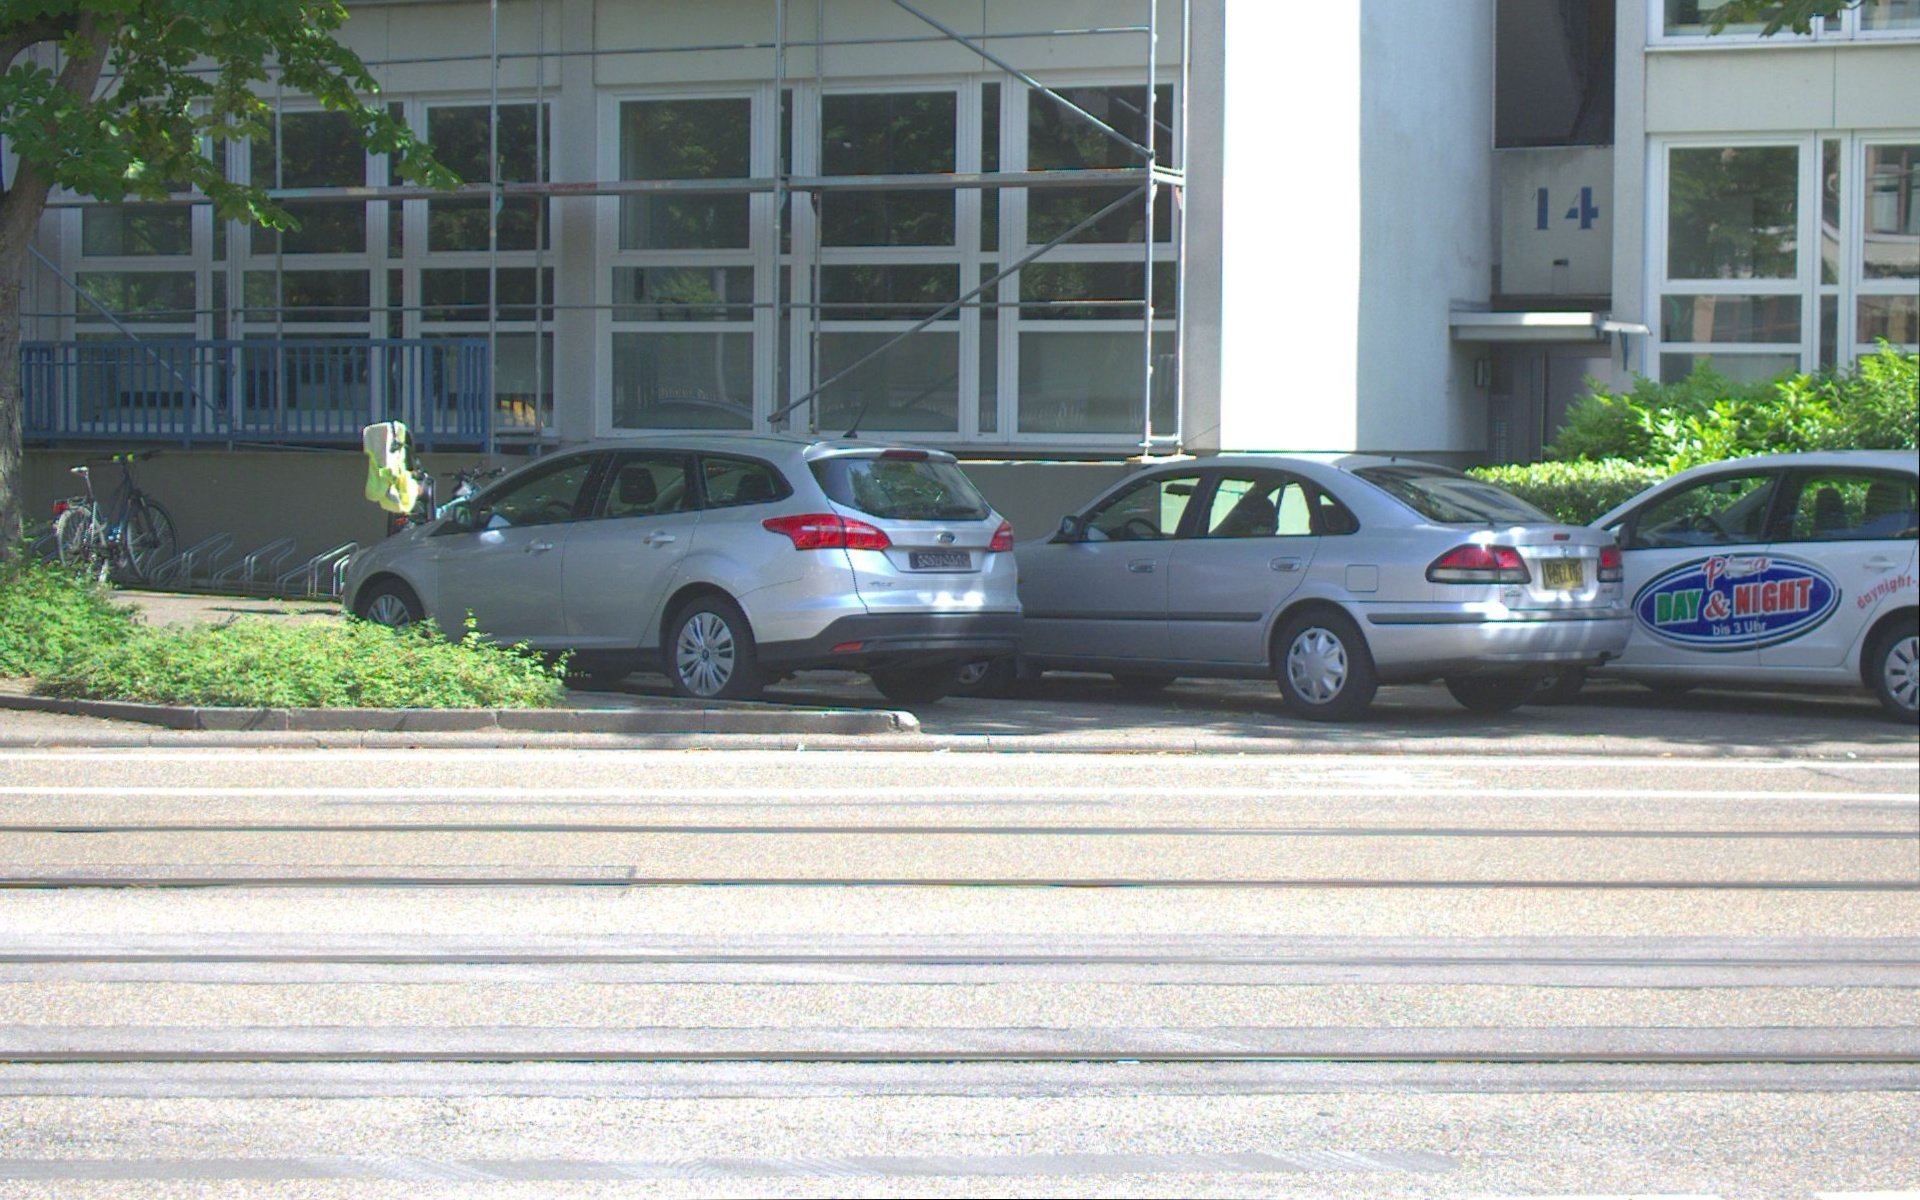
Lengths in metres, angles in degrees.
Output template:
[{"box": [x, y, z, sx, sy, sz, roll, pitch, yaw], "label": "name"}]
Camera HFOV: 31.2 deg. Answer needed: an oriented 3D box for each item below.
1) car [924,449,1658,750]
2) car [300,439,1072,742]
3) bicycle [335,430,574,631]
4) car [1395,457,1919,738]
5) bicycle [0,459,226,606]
[{"box": [1.772, -0.081, 19.314, 3.943, 1.481, 1.609, 3, 4, 44], "label": "car"}, {"box": [-1.644, -0.137, 19.438, 4.432, 1.481, 1.780, 3, 3, 42], "label": "car"}, {"box": [-3.784, -0.544, 25.897, 0.662, 1.448, 2.087, 2, 3, 28], "label": "bicycle"}, {"box": [4.574, -0.067, 19.671, 3.942, 1.481, 1.609, 2, 3, 43], "label": "car"}, {"box": [-6.558, -0.548, 26.696, 0.741, 1.082, 2.202, 1, 3, 15], "label": "bicycle"}]
